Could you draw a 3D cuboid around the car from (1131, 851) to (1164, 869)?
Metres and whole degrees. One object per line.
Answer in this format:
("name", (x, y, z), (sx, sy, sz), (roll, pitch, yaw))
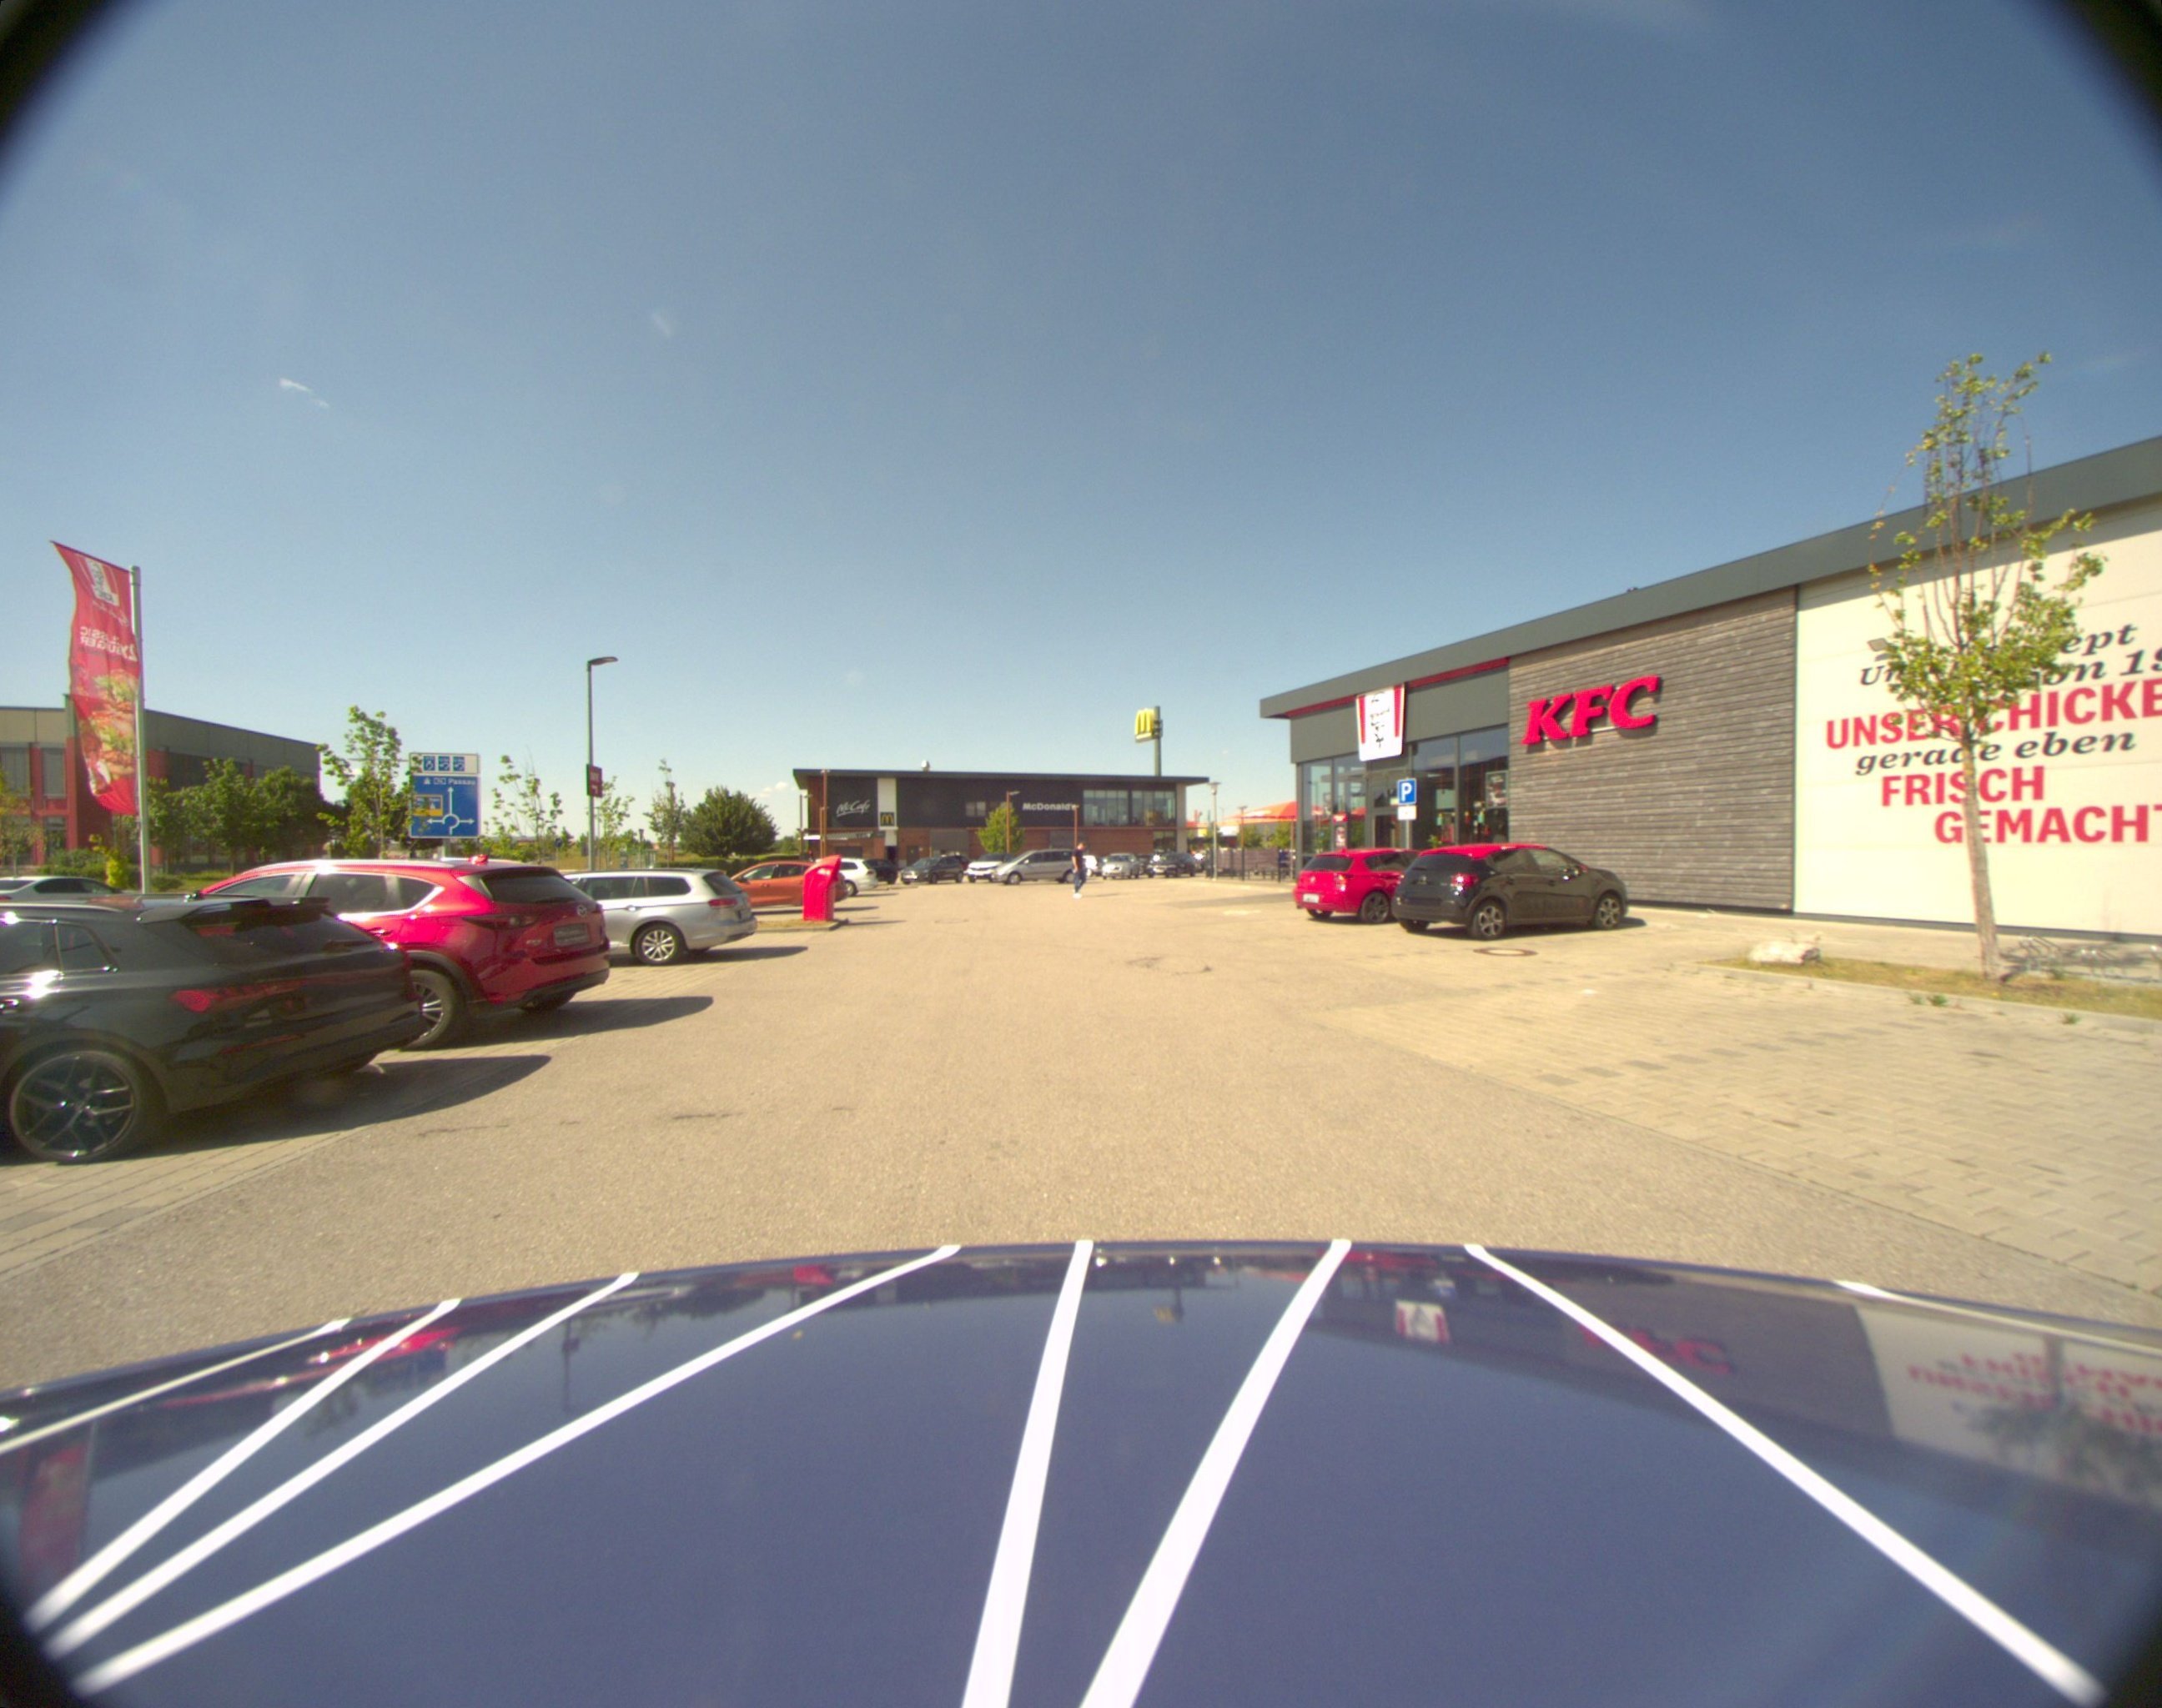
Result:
("car", (6.069, 0.533, 68.975), (1.713, 1.603, 4.043), (-1, 0, 26))

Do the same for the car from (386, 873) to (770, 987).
("car", (-7.490, 1.086, 11.749), (4.600, 1.405, 1.739), (-2, 1, -7))

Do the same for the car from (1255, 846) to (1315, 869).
("car", (15.588, 0.293, 58.182), (4.104, 1.664, 1.816), (-1, 1, 27))

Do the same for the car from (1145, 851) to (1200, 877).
("car", (5.559, 0.566, 45.595), (1.970, 1.478, 4.791), (-1, 0, 24))

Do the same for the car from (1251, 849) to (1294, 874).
("car", (12.001, 0.433, 47.410), (1.832, 1.451, 4.592), (-1, 0, 24))

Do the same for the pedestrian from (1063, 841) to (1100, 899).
("pedestrian", (0.012, 0.511, 24.508), (0.995, 1.799, 0.725), (-2, 1, -15))

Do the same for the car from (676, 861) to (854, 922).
("car", (-8.838, 1.009, 21.616), (4.354, 1.461, 1.831), (-2, 1, -12))

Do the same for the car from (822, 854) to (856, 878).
("car", (-17.903, 0.859, 56.158), (1.999, 1.681, 4.228), (0, 0, -23))

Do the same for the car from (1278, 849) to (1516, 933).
("car", (6.354, 0.662, 15.288), (4.405, 1.405, 1.737), (-2, 1, -21))

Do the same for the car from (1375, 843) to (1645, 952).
("car", (7.094, 0.631, 12.618), (3.912, 1.498, 1.737), (-2, 1, -19))

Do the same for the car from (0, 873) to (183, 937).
("car", (-28.478, 1.348, 21.088), (2.000, 1.517, 4.653), (-1, 0, -9))

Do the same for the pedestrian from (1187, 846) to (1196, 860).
("pedestrian", (12.161, -0.115, 83.888), (0.700, 1.550, 0.723), (-1, 0, 43))

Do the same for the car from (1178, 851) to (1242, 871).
("car", (10.378, 0.576, 61.188), (4.633, 1.478, 1.899), (-1, 1, 27))

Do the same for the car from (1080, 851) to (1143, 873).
("car", (2.151, 0.574, 53.814), (4.104, 1.506, 1.816), (-1, 1, 27))

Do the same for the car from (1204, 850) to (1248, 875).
("car", (8.932, 0.480, 46.543), (1.832, 1.451, 4.377), (-1, 0, 22))

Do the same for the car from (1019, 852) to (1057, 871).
("car", (-3.702, 0.641, 65.542), (1.710, 1.506, 3.956), (-3, 0, 21))

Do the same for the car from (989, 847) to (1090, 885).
("car", (-2.082, 0.550, 37.887), (4.687, 1.738, 1.830), (-1, 1, -19))

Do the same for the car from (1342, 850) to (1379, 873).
("car", (18.457, 0.484, 50.084), (1.970, 1.451, 4.214), (-1, 0, 24))

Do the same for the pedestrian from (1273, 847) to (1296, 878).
("pedestrian", (8.439, 0.356, 31.521), (0.625, 1.266, 0.612), (-1, 0, -35))

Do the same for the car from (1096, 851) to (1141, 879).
("car", (2.215, 0.593, 44.051), (1.972, 1.517, 4.211), (-1, 0, 11))

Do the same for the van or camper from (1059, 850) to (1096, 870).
("van or camper", (-0.298, 0.515, 66.851), (1.707, 1.764, 4.035), (-1, 0, 24))

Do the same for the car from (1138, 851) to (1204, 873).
("car", (6.379, 0.587, 54.165), (4.269, 1.478, 1.816), (-1, 1, 27))

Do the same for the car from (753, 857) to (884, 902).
("car", (-9.906, 0.921, 29.057), (4.482, 1.461, 1.831), (-2, 1, -12))

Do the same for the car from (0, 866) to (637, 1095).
("car", (-6.857, 1.014, 7.065), (4.230, 1.628, 1.949), (-2, 1, -6))

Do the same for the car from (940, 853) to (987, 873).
("car", (-9.961, 0.729, 64.739), (1.958, 1.593, 4.474), (-1, 0, 21))

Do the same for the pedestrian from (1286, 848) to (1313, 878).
("pedestrian", (9.217, 0.383, 32.020), (0.843, 1.266, 0.684), (-1, 0, -35))

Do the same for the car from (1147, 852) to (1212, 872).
("car", (7.705, 0.612, 59.615), (4.633, 1.478, 1.899), (-1, 1, 27))

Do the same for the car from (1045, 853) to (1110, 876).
("car", (-0.242, 0.725, 52.279), (4.104, 1.484, 1.715), (-1, 1, 27))

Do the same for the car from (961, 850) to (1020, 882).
("car", (-4.896, 0.648, 41.817), (1.972, 1.645, 4.211), (-1, 0, 11))

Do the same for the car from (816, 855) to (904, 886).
("car", (-11.389, 0.825, 39.523), (1.970, 1.517, 4.340), (0, 0, 26))

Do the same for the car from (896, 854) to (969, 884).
("car", (-7.890, 0.764, 40.760), (1.971, 1.517, 4.213), (-1, 0, 19))

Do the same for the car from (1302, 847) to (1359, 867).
("car", (19.431, 0.237, 59.168), (3.990, 1.543, 1.758), (-1, 0, 24))

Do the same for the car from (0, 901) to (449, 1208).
("car", (-6.752, 1.122, 4.545), (4.206, 1.402, 1.772), (-2, 1, -8))

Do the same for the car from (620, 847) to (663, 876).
("car", (-35.931, 0.608, 62.250), (2.001, 2.184, 5.099), (-1, 0, -17))
